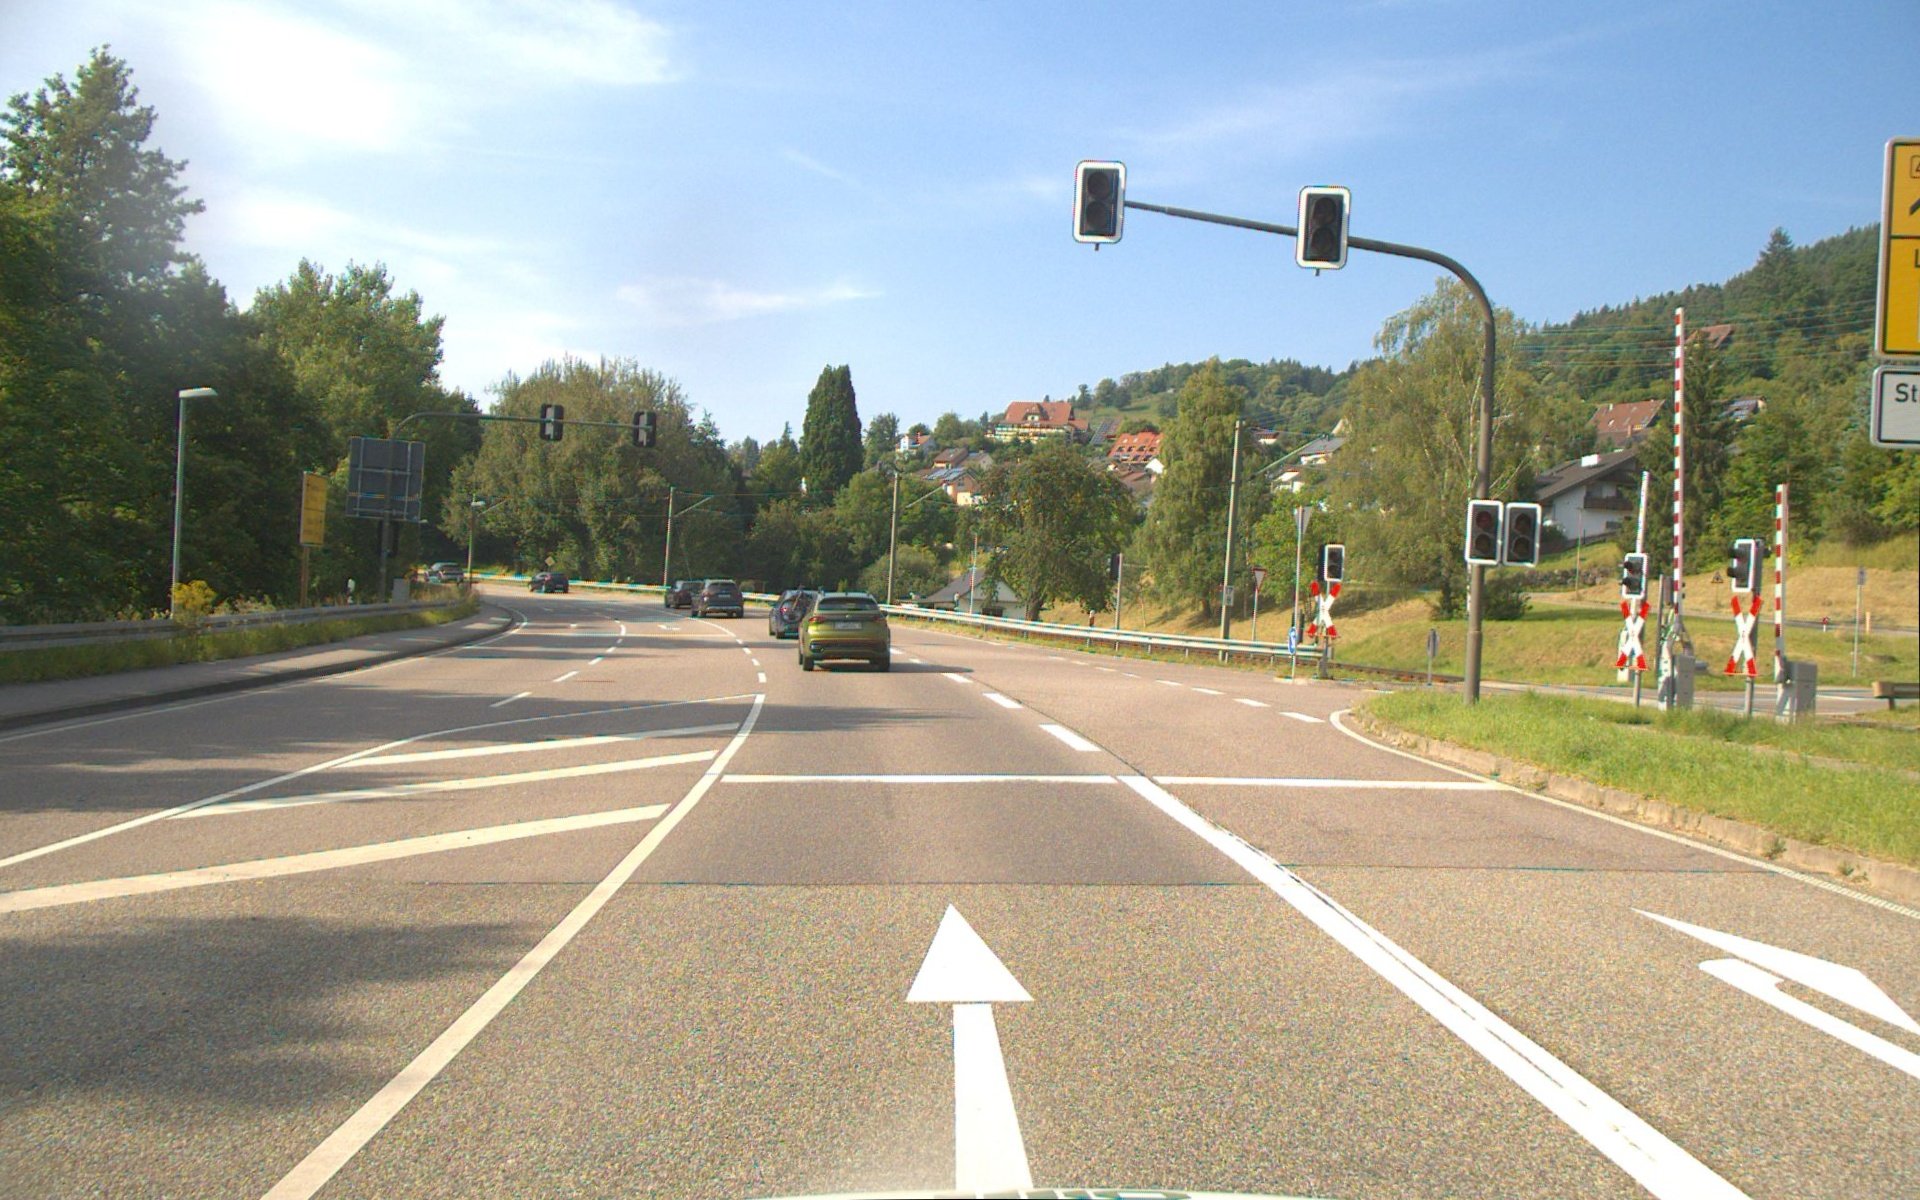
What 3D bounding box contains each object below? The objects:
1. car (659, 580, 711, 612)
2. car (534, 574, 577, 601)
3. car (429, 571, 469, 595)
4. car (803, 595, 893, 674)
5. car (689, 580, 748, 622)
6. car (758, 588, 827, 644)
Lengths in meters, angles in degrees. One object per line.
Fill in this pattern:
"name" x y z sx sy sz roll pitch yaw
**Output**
"car" -14.321 -0.207 86.030 1.824 1.553 3.636 2 0 -24
"car" -28.126 -0.899 114.886 1.971 1.775 3.963 2 0 -28
"car" -41.129 -1.395 133.058 2.045 1.842 3.953 1 1 -34
"car" -2.231 0.648 33.221 1.681 1.480 3.997 1 0 -3
"car" -10.612 0.019 72.482 1.852 1.716 3.978 2 0 -19
"car" -5.132 0.458 50.214 1.638 1.586 3.988 2 0 -12
